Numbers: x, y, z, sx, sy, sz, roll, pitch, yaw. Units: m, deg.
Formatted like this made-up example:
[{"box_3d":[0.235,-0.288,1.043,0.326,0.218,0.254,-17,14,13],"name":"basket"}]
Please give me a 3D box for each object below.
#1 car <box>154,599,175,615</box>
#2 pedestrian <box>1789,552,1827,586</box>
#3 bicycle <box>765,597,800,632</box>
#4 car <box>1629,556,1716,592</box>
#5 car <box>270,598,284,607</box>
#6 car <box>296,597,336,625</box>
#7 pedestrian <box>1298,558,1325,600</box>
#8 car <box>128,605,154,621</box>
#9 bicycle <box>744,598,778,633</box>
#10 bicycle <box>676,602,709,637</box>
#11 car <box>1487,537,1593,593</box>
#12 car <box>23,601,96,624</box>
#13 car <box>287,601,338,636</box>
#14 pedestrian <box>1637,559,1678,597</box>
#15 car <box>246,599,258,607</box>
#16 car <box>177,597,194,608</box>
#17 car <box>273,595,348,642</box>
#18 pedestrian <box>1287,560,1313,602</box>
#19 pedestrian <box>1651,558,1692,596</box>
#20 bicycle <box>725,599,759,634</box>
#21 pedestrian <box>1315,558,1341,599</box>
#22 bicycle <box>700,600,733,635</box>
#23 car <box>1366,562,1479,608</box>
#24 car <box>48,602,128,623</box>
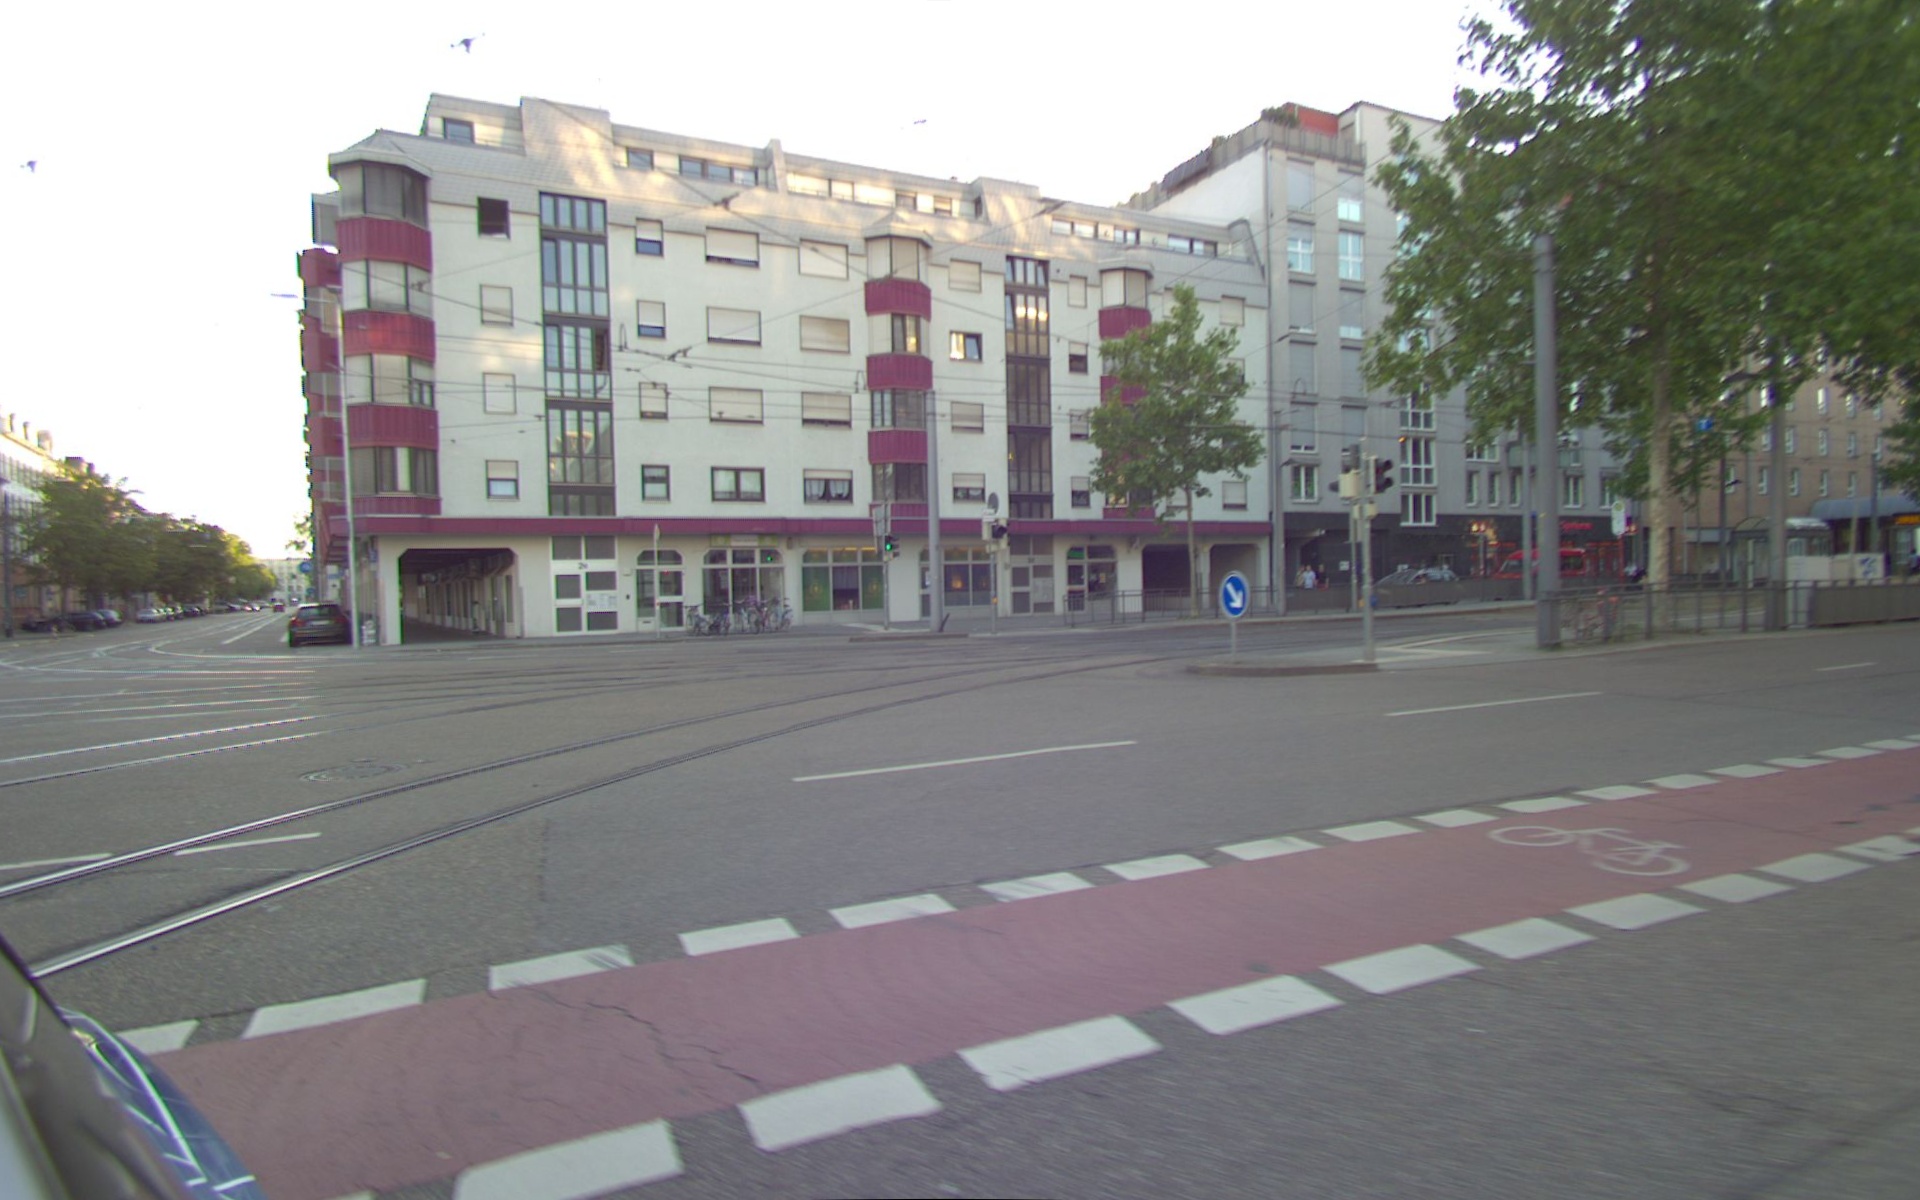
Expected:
[{"box_3d":[-93.350,0.800,118.842,1.758,1.853,4.307,-3,1,-37],"name":"car"},{"box_3d":[37.088,-1.353,44.283,0.981,1.464,0.941,-2,1,-26],"name":"pedestrian"},{"box_3d":[-5.683,0.449,32.380,0.506,1.054,1.909,-2,1,-28],"name":"bicycle"},{"box_3d":[34.545,-1.244,49.044,4.031,1.608,1.671,-2,1,-25],"name":"car"},{"box_3d":[-116.705,0.409,172.915,1.757,1.468,4.308,-3,1,-35],"name":"car"},{"box_3d":[-37.123,0.612,58.425,1.756,1.468,4.310,-2,1,-31],"name":"car"},{"box_3d":[15.435,-0.916,44.441,0.821,1.820,0.694,-2,1,-24],"name":"pedestrian"},{"box_3d":[-81.252,1.267,100.465,1.758,1.468,4.307,-3,1,-37],"name":"car"},{"box_3d":[-6.370,0.488,32.312,0.506,1.054,1.909,-2,1,-28],"name":"bicycle"},{"box_3d":[-8.278,0.586,31.290,0.506,1.054,1.909,-2,1,-28],"name":"bicycle"},{"box_3d":[28.163,-1.720,49.091,4.994,2.560,1.858,-2,1,-24],"name":"car"},{"box_3d":[-64.901,0.899,73.029,3.713,1.497,1.911,-3,1,-37],"name":"car"},{"box_3d":[-29.169,0.790,45.656,1.756,1.468,4.310,-2,1,-31],"name":"car"},{"box_3d":[27.208,-0.858,39.498,0.981,1.464,0.941,-2,1,-26],"name":"pedestrian"},{"box_3d":[-137.016,0.673,195.940,1.757,1.468,4.309,-2,1,-34],"name":"car"},{"box_3d":[-106.129,0.346,138.738,1.758,1.446,4.307,-3,1,-37],"name":"car"},{"box_3d":[-22.701,0.603,35.508,1.973,1.468,4.310,-2,1,-30],"name":"car"},{"box_3d":[15.178,-0.848,45.195,0.821,1.820,0.694,-2,1,-24],"name":"pedestrian"},{"box_3d":[28.093,-0.894,39.971,0.981,1.464,0.941,-2,1,-26],"name":"pedestrian"},{"box_3d":[-6.913,0.505,32.083,0.506,1.054,1.909,-2,1,-28],"name":"bicycle"},{"box_3d":[16.479,-0.958,45.334,0.821,1.820,0.694,-2,1,-24],"name":"pedestrian"},{"box_3d":[-7.628,0.539,31.644,0.506,1.054,1.909,-2,1,-28],"name":"bicycle"},{"box_3d":[17.472,-0.586,38.213,4.031,1.608,1.671,-2,1,-25],"name":"car"},{"box_3d":[-68.630,0.963,79.736,4.629,1.497,1.911,-3,1,-37],"name":"car"}]
